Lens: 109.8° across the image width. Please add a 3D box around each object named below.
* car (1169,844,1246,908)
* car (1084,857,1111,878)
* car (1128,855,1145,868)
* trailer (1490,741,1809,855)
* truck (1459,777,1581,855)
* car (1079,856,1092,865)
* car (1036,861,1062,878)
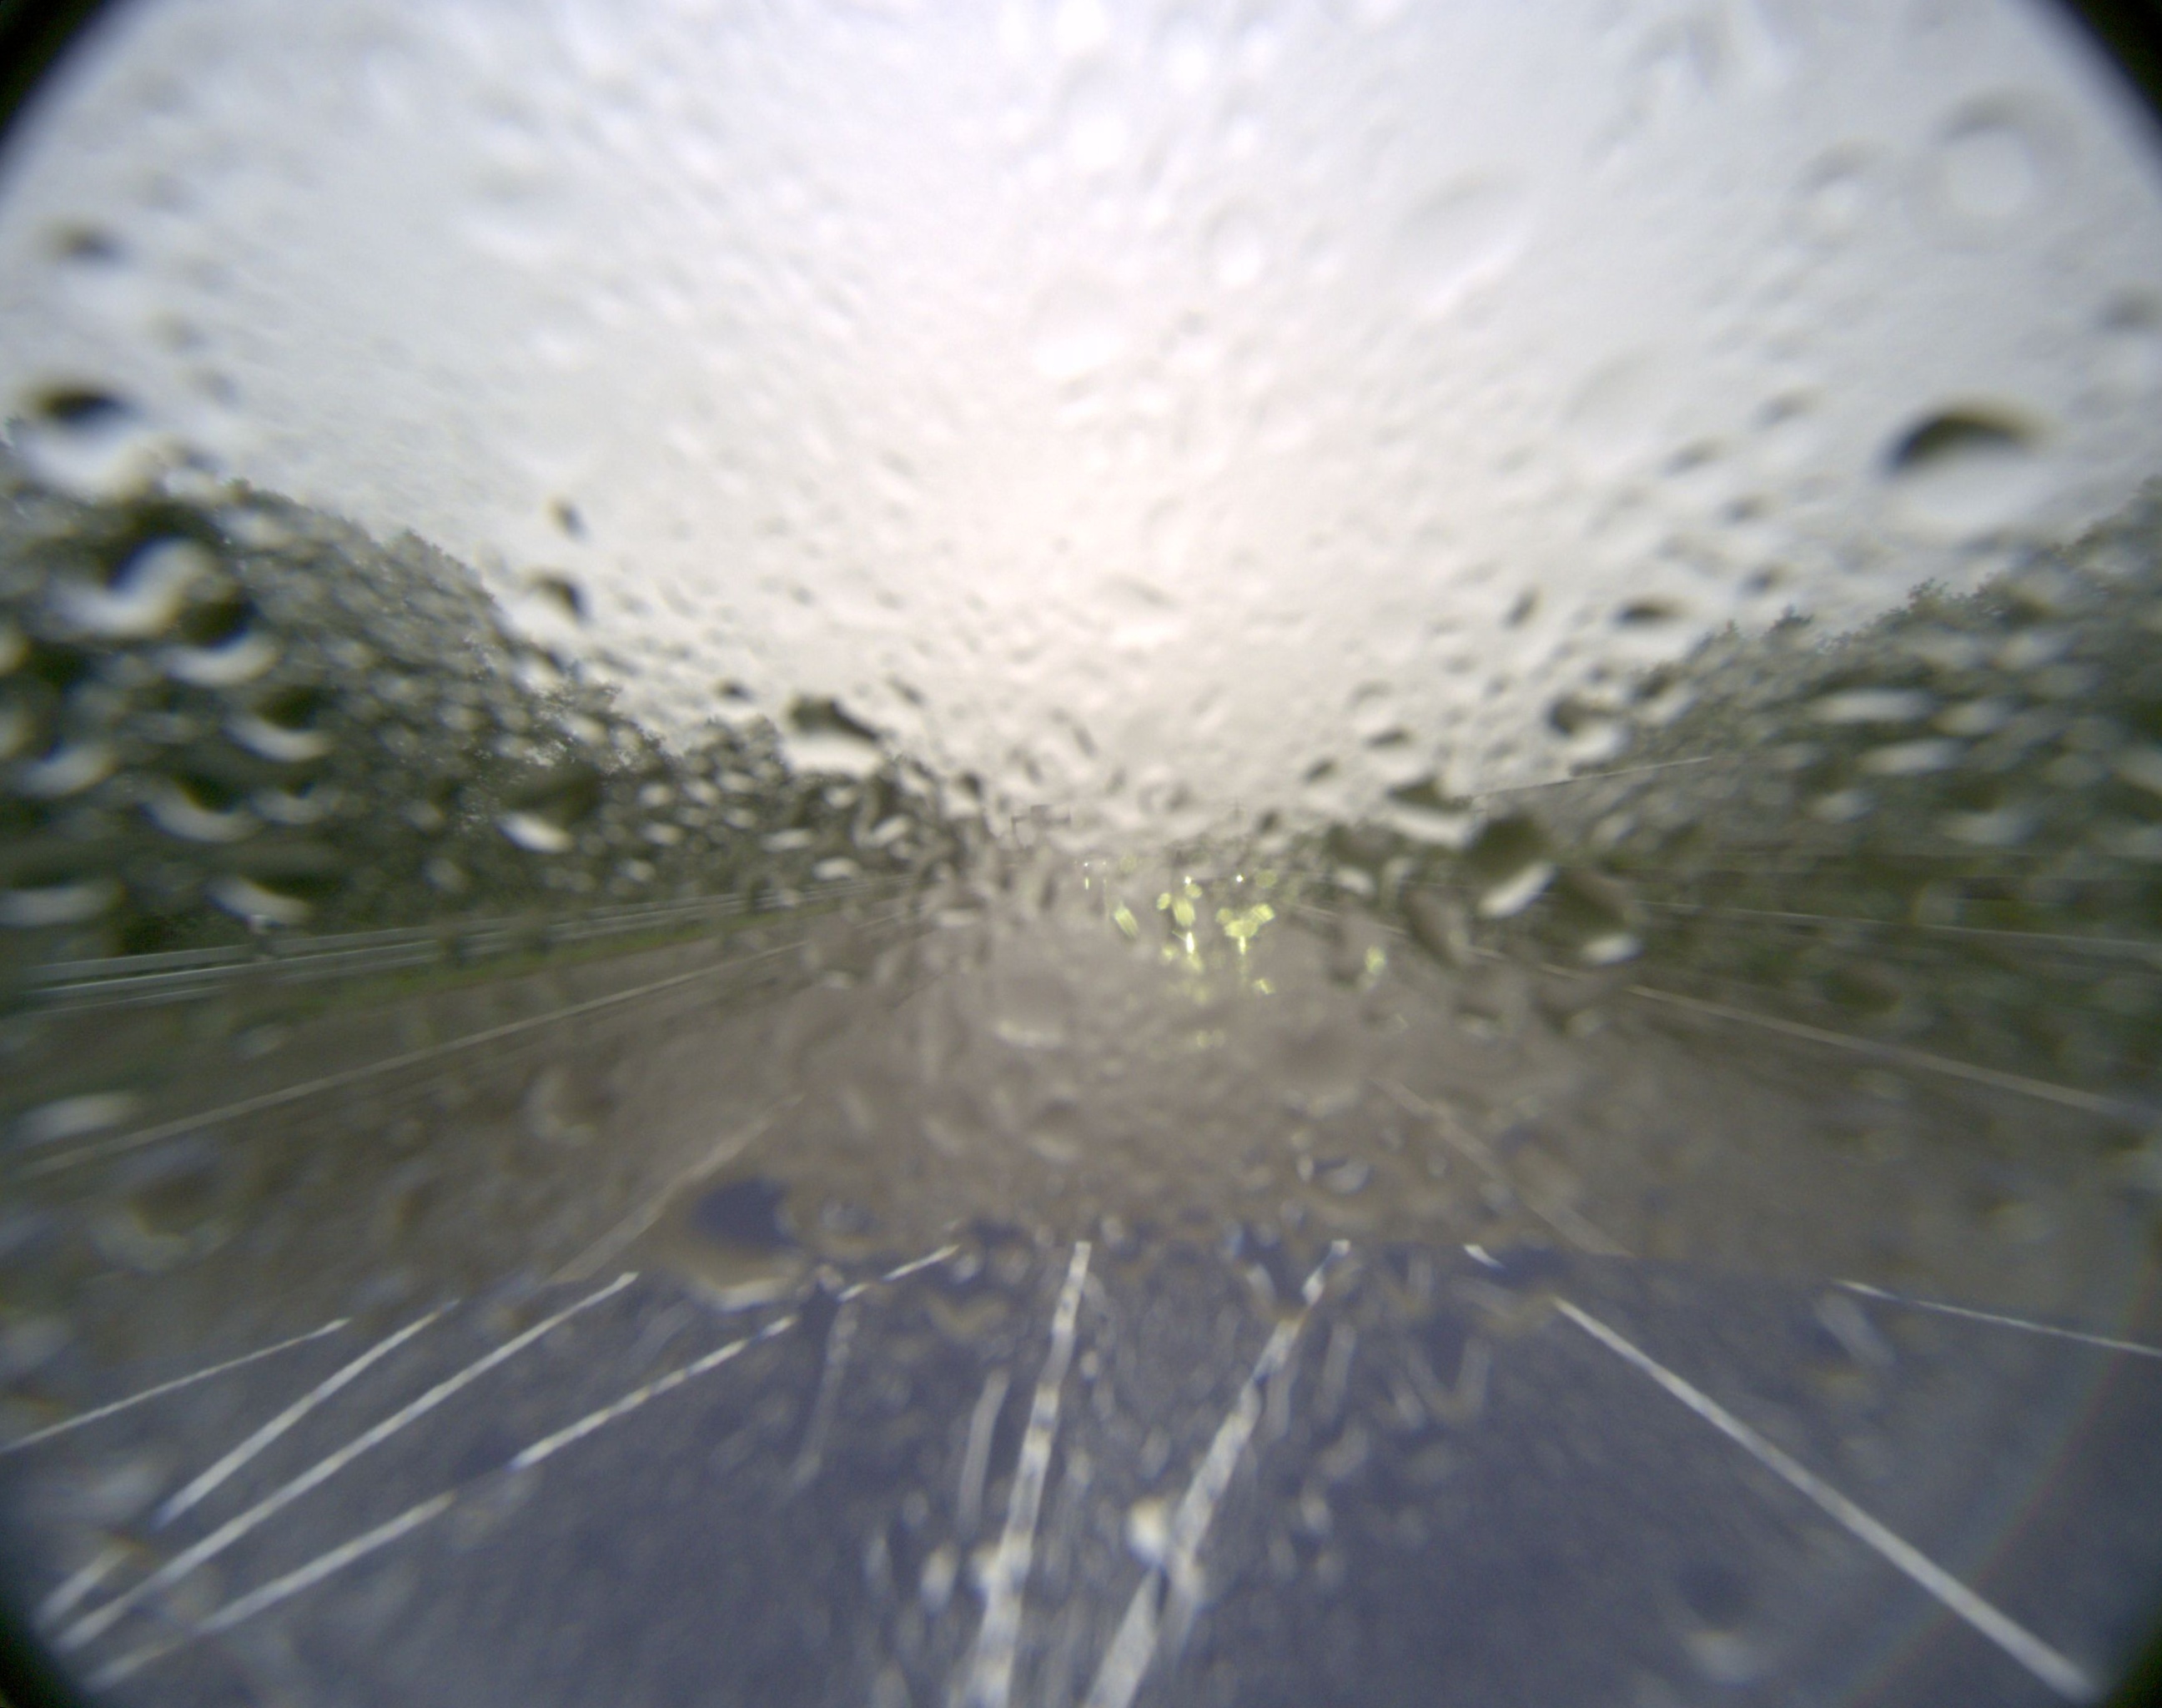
[{"bbox_3d":[3.814,0.605,23.598,2.046,1.763,4.502,-1,0,6],"label":"car"},{"bbox_3d":[1.282,0.981,57.709,1.752,1.406,4.001,-5,0,4],"label":"car"},{"bbox_3d":[5.969,0.774,81.908,1.752,1.369,4.001,-1,0,4],"label":"car"},{"bbox_3d":[21.381,-1.739,30.475,2.680,3.388,13.448,-4,0,1],"label":"trailer"},{"bbox_3d":[21.496,-1.725,37.600,2.673,3.397,5.528,-4,0,1],"label":"truck"},{"bbox_3d":[0.672,1.017,122.055,1.753,1.205,4.001,-6,0,4],"label":"car"},{"bbox_3d":[-2.793,1.325,66.707,1.753,1.205,4.001,-6,0,4],"label":"car"}]
